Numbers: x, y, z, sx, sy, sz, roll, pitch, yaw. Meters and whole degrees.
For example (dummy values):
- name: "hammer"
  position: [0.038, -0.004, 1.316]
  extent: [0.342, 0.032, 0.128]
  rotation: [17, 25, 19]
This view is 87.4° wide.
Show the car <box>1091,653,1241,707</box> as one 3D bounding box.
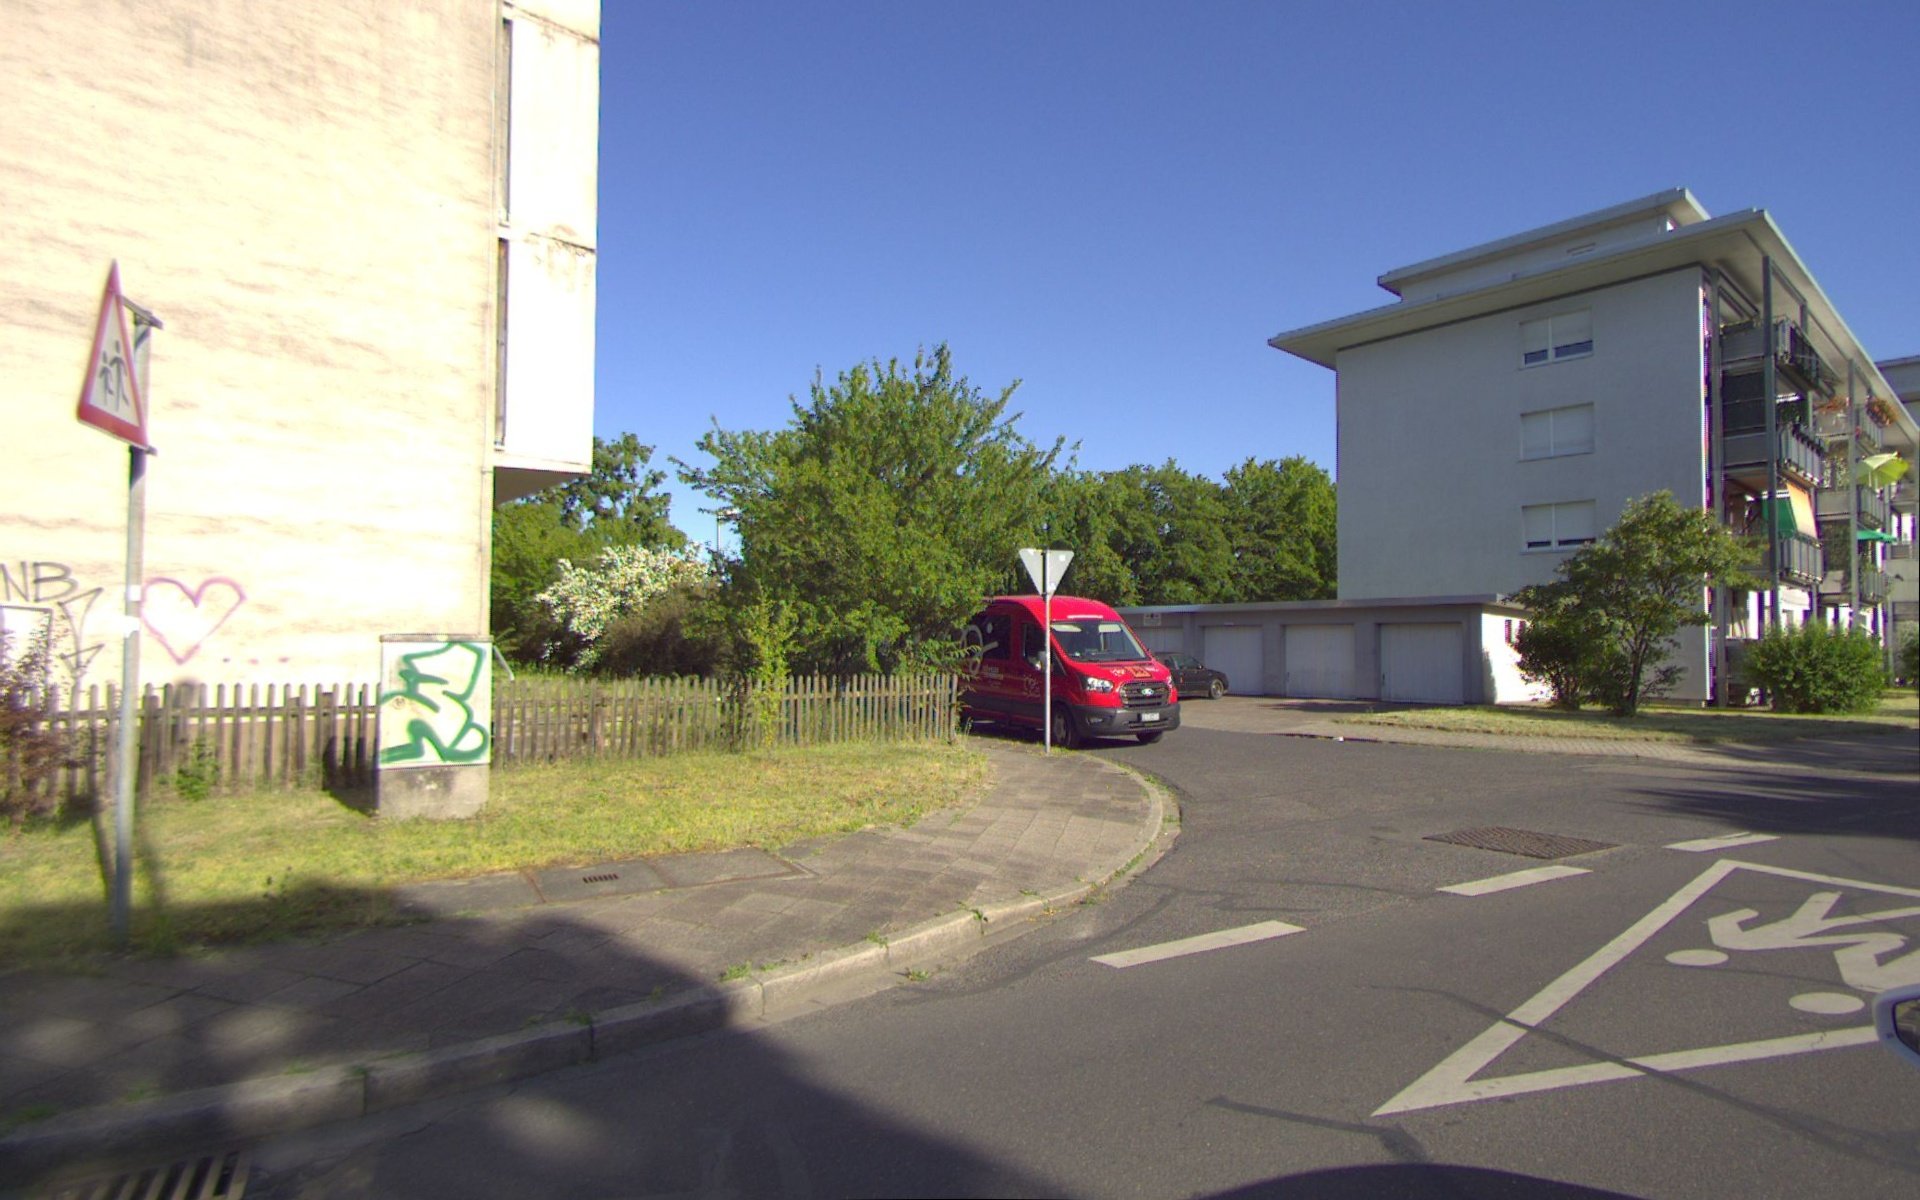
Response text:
- name: "car"
  position: [6.018, 2.265, 29.157]
  extent: [4.328, 1.375, 1.939]
  rotation: [1, -3, -38]

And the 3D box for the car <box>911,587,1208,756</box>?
- name: "car"
  position: [1.459, 1.201, 17.714]
  extent: [2.187, 2.460, 5.879]
  rotation: [0, -3, -30]
